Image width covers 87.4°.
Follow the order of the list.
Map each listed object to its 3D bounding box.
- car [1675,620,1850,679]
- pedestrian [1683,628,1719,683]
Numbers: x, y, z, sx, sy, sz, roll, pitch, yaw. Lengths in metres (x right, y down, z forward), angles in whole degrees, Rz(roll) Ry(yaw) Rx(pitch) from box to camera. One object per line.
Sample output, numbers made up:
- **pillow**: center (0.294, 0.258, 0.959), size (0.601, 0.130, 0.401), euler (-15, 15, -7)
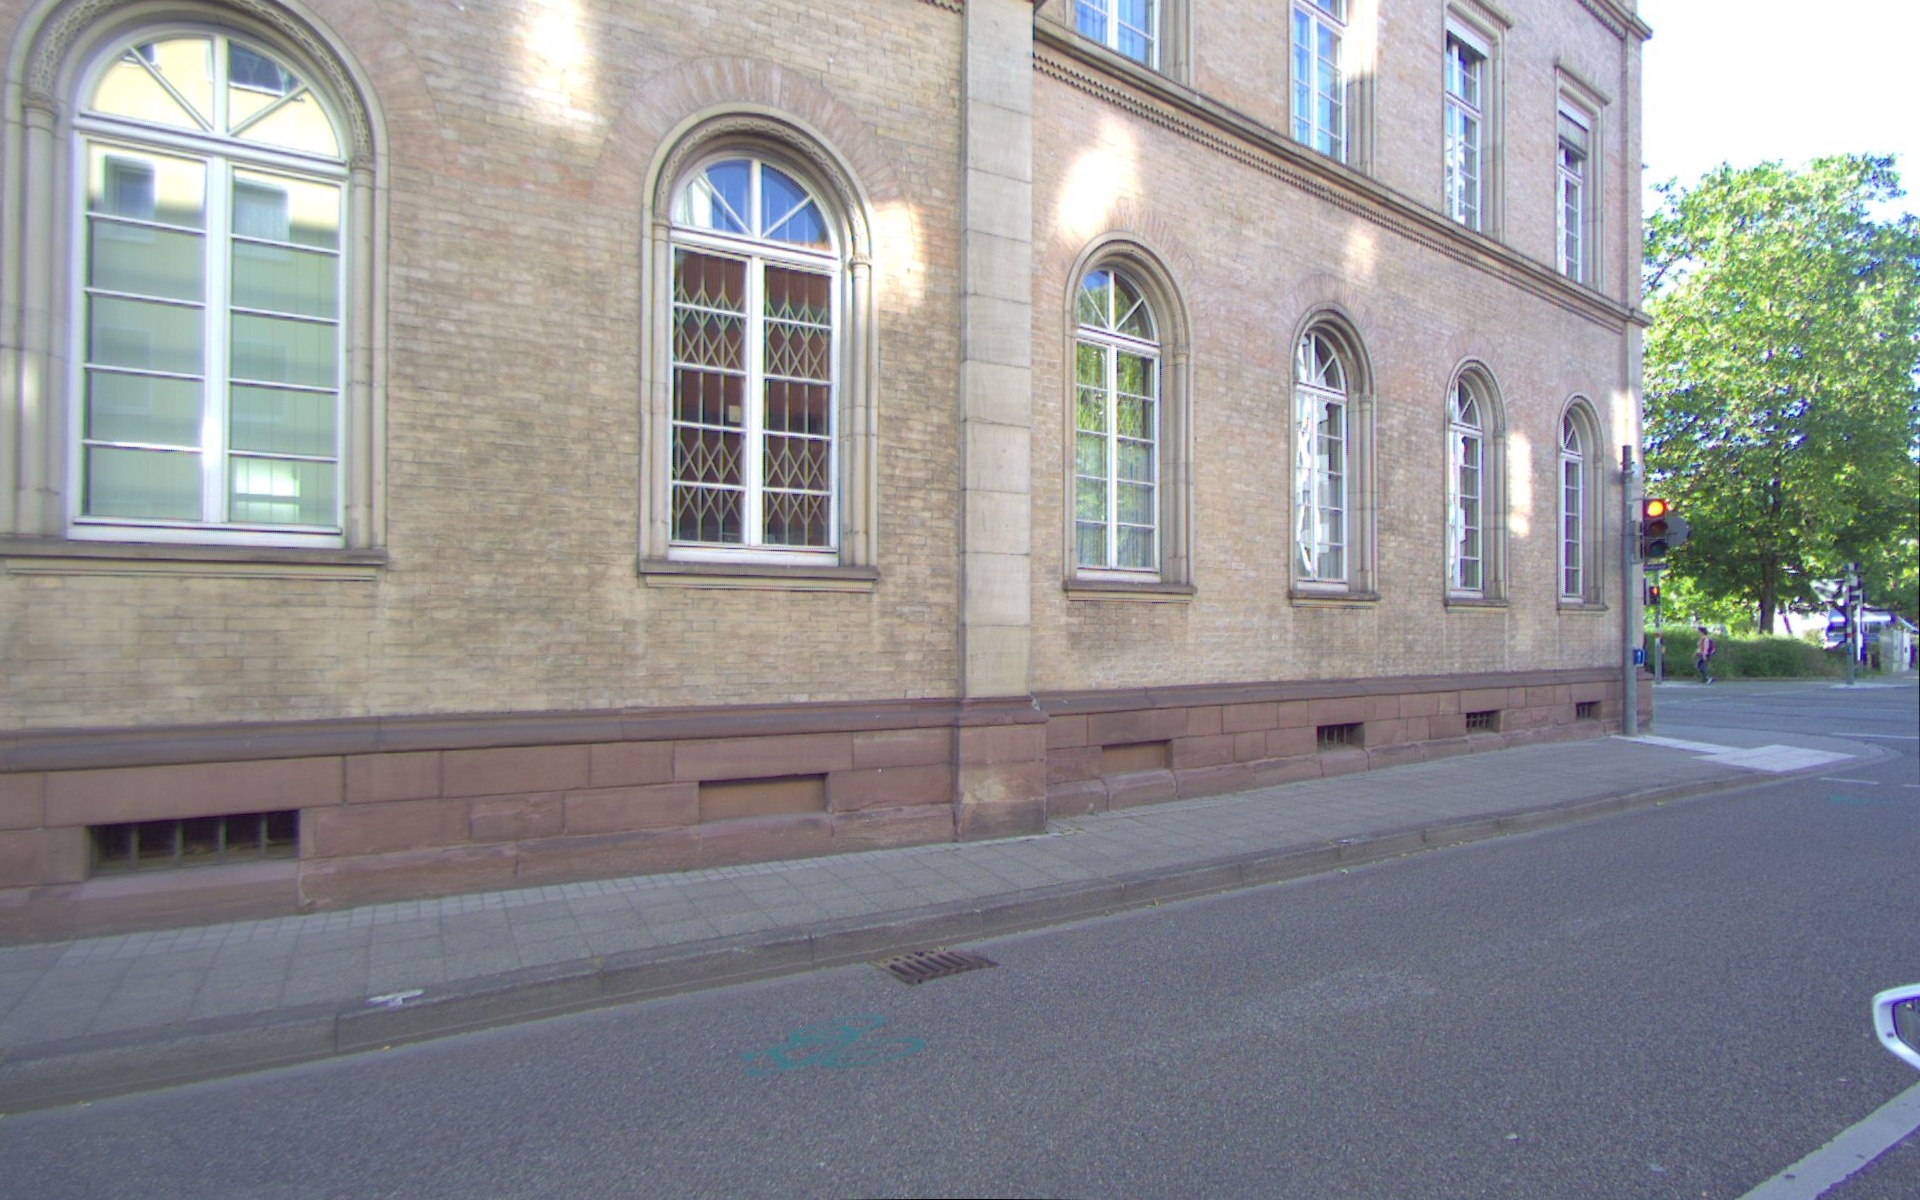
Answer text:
- **car**: center (26.337, 1.568, 33.099), size (1.888, 1.801, 4.193), euler (1, -2, -37)
- **pedestrian**: center (22.113, 1.657, 29.987), size (0.700, 1.620, 0.617), euler (0, -1, 19)
